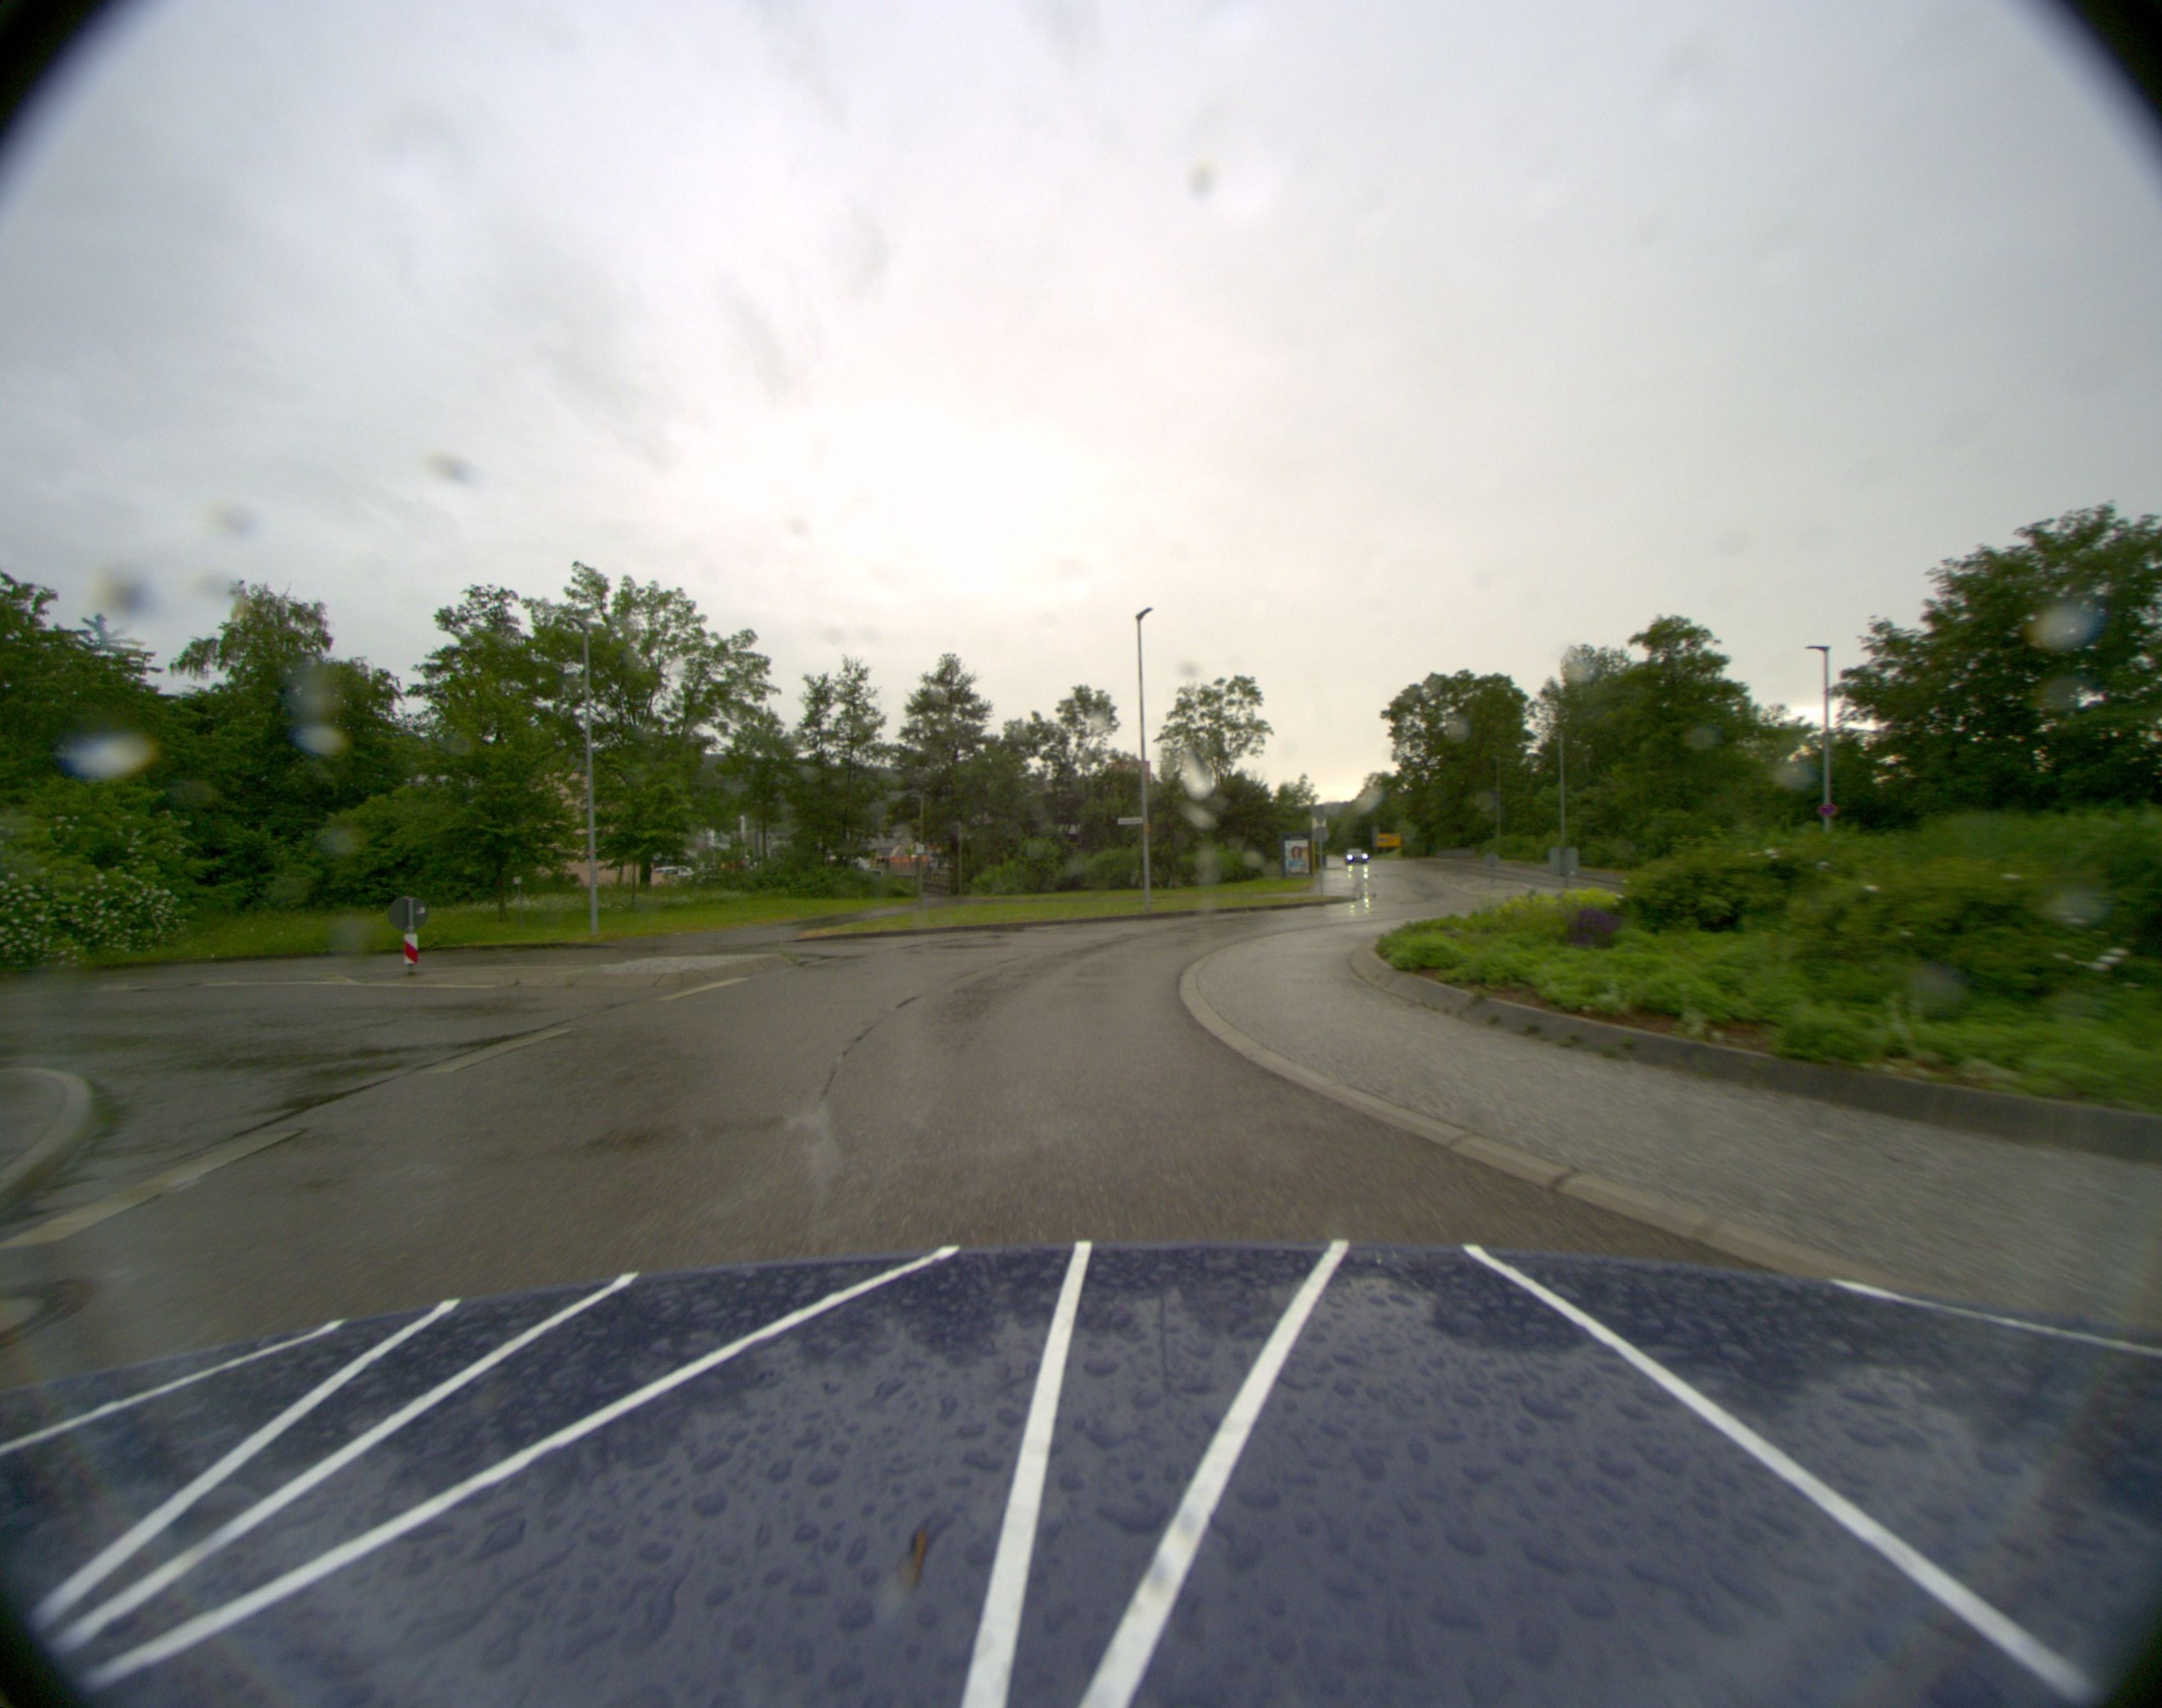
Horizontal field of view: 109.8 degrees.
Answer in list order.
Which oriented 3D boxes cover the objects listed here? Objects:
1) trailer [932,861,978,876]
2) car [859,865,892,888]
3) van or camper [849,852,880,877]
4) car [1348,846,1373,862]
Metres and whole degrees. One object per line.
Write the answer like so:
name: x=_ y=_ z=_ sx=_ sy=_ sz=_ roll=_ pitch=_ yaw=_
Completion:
trailer: x=-18.796 y=2.136 z=113.471 sx=6.635 sy=2.002 sz=2.575 roll=-2 pitch=2 yaw=-7
car: x=-16.761 y=1.820 z=61.804 sx=2.002 sy=1.704 sz=3.992 roll=-3 pitch=0 yaw=-24
van or camper: x=-20.245 y=0.960 z=70.786 sx=2.545 sy=2.231 sz=5.967 roll=0 pitch=0 yaw=-18
car: x=27.170 y=-0.021 z=73.895 sx=1.853 sy=1.481 sz=4.125 roll=-2 pitch=0 yaw=15
